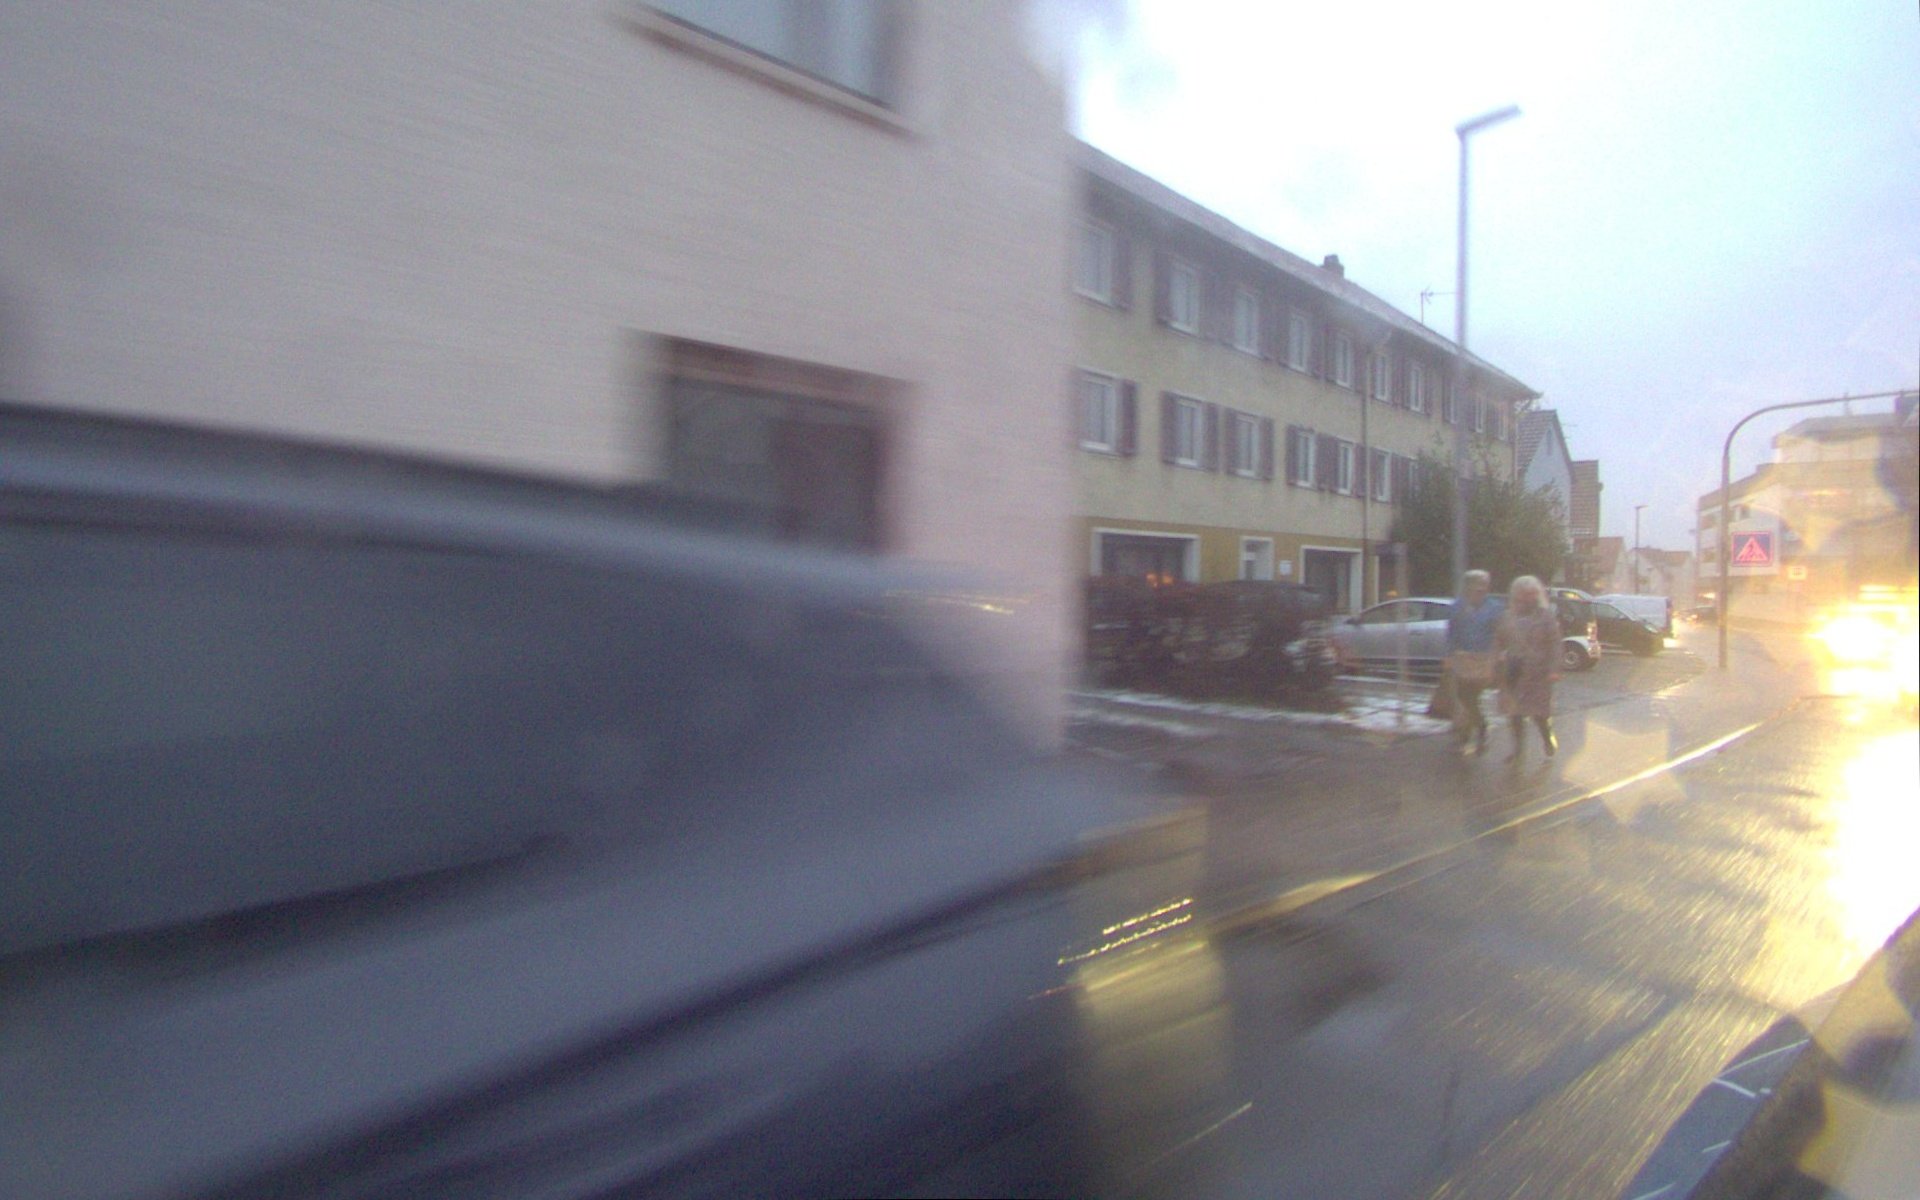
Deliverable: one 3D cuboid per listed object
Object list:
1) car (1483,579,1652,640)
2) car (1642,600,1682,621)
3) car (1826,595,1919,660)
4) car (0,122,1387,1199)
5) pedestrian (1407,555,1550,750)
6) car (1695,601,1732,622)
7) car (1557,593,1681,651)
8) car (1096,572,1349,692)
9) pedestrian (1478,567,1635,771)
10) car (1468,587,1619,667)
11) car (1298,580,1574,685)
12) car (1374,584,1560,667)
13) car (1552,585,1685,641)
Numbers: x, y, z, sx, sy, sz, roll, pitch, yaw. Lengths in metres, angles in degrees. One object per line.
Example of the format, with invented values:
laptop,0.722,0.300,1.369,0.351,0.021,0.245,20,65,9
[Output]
car,22.072,0.300,36.899,4.979,1.912,1.907,4,1,42
car,51.009,0.781,73.603,1.884,1.485,3.961,-1,-1,27
car,24.925,0.704,27.192,1.910,1.638,3.824,-1,-1,32
car,-1.560,0.570,0.885,4.259,1.658,1.851,0,0,-40
pedestrian,5.061,0.472,9.883,0.954,1.754,0.850,1,2,-40
car,60.056,0.882,80.736,1.885,1.637,3.786,-1,-1,30
car,18.872,0.591,29.002,2.763,1.492,1.405,3,2,43
car,3.751,0.383,14.752,1.562,1.492,3.218,1,2,-45
pedestrian,5.402,0.580,9.171,0.974,1.687,0.869,1,2,-40
car,12.770,0.548,22.197,2.582,1.566,1.527,3,1,42
car,8.049,0.466,17.337,1.722,1.492,3.902,1,2,-45
car,10.358,0.472,20.777,1.524,1.492,3.066,1,2,-45
car,24.791,0.439,38.137,4.034,1.866,1.838,3,2,38
